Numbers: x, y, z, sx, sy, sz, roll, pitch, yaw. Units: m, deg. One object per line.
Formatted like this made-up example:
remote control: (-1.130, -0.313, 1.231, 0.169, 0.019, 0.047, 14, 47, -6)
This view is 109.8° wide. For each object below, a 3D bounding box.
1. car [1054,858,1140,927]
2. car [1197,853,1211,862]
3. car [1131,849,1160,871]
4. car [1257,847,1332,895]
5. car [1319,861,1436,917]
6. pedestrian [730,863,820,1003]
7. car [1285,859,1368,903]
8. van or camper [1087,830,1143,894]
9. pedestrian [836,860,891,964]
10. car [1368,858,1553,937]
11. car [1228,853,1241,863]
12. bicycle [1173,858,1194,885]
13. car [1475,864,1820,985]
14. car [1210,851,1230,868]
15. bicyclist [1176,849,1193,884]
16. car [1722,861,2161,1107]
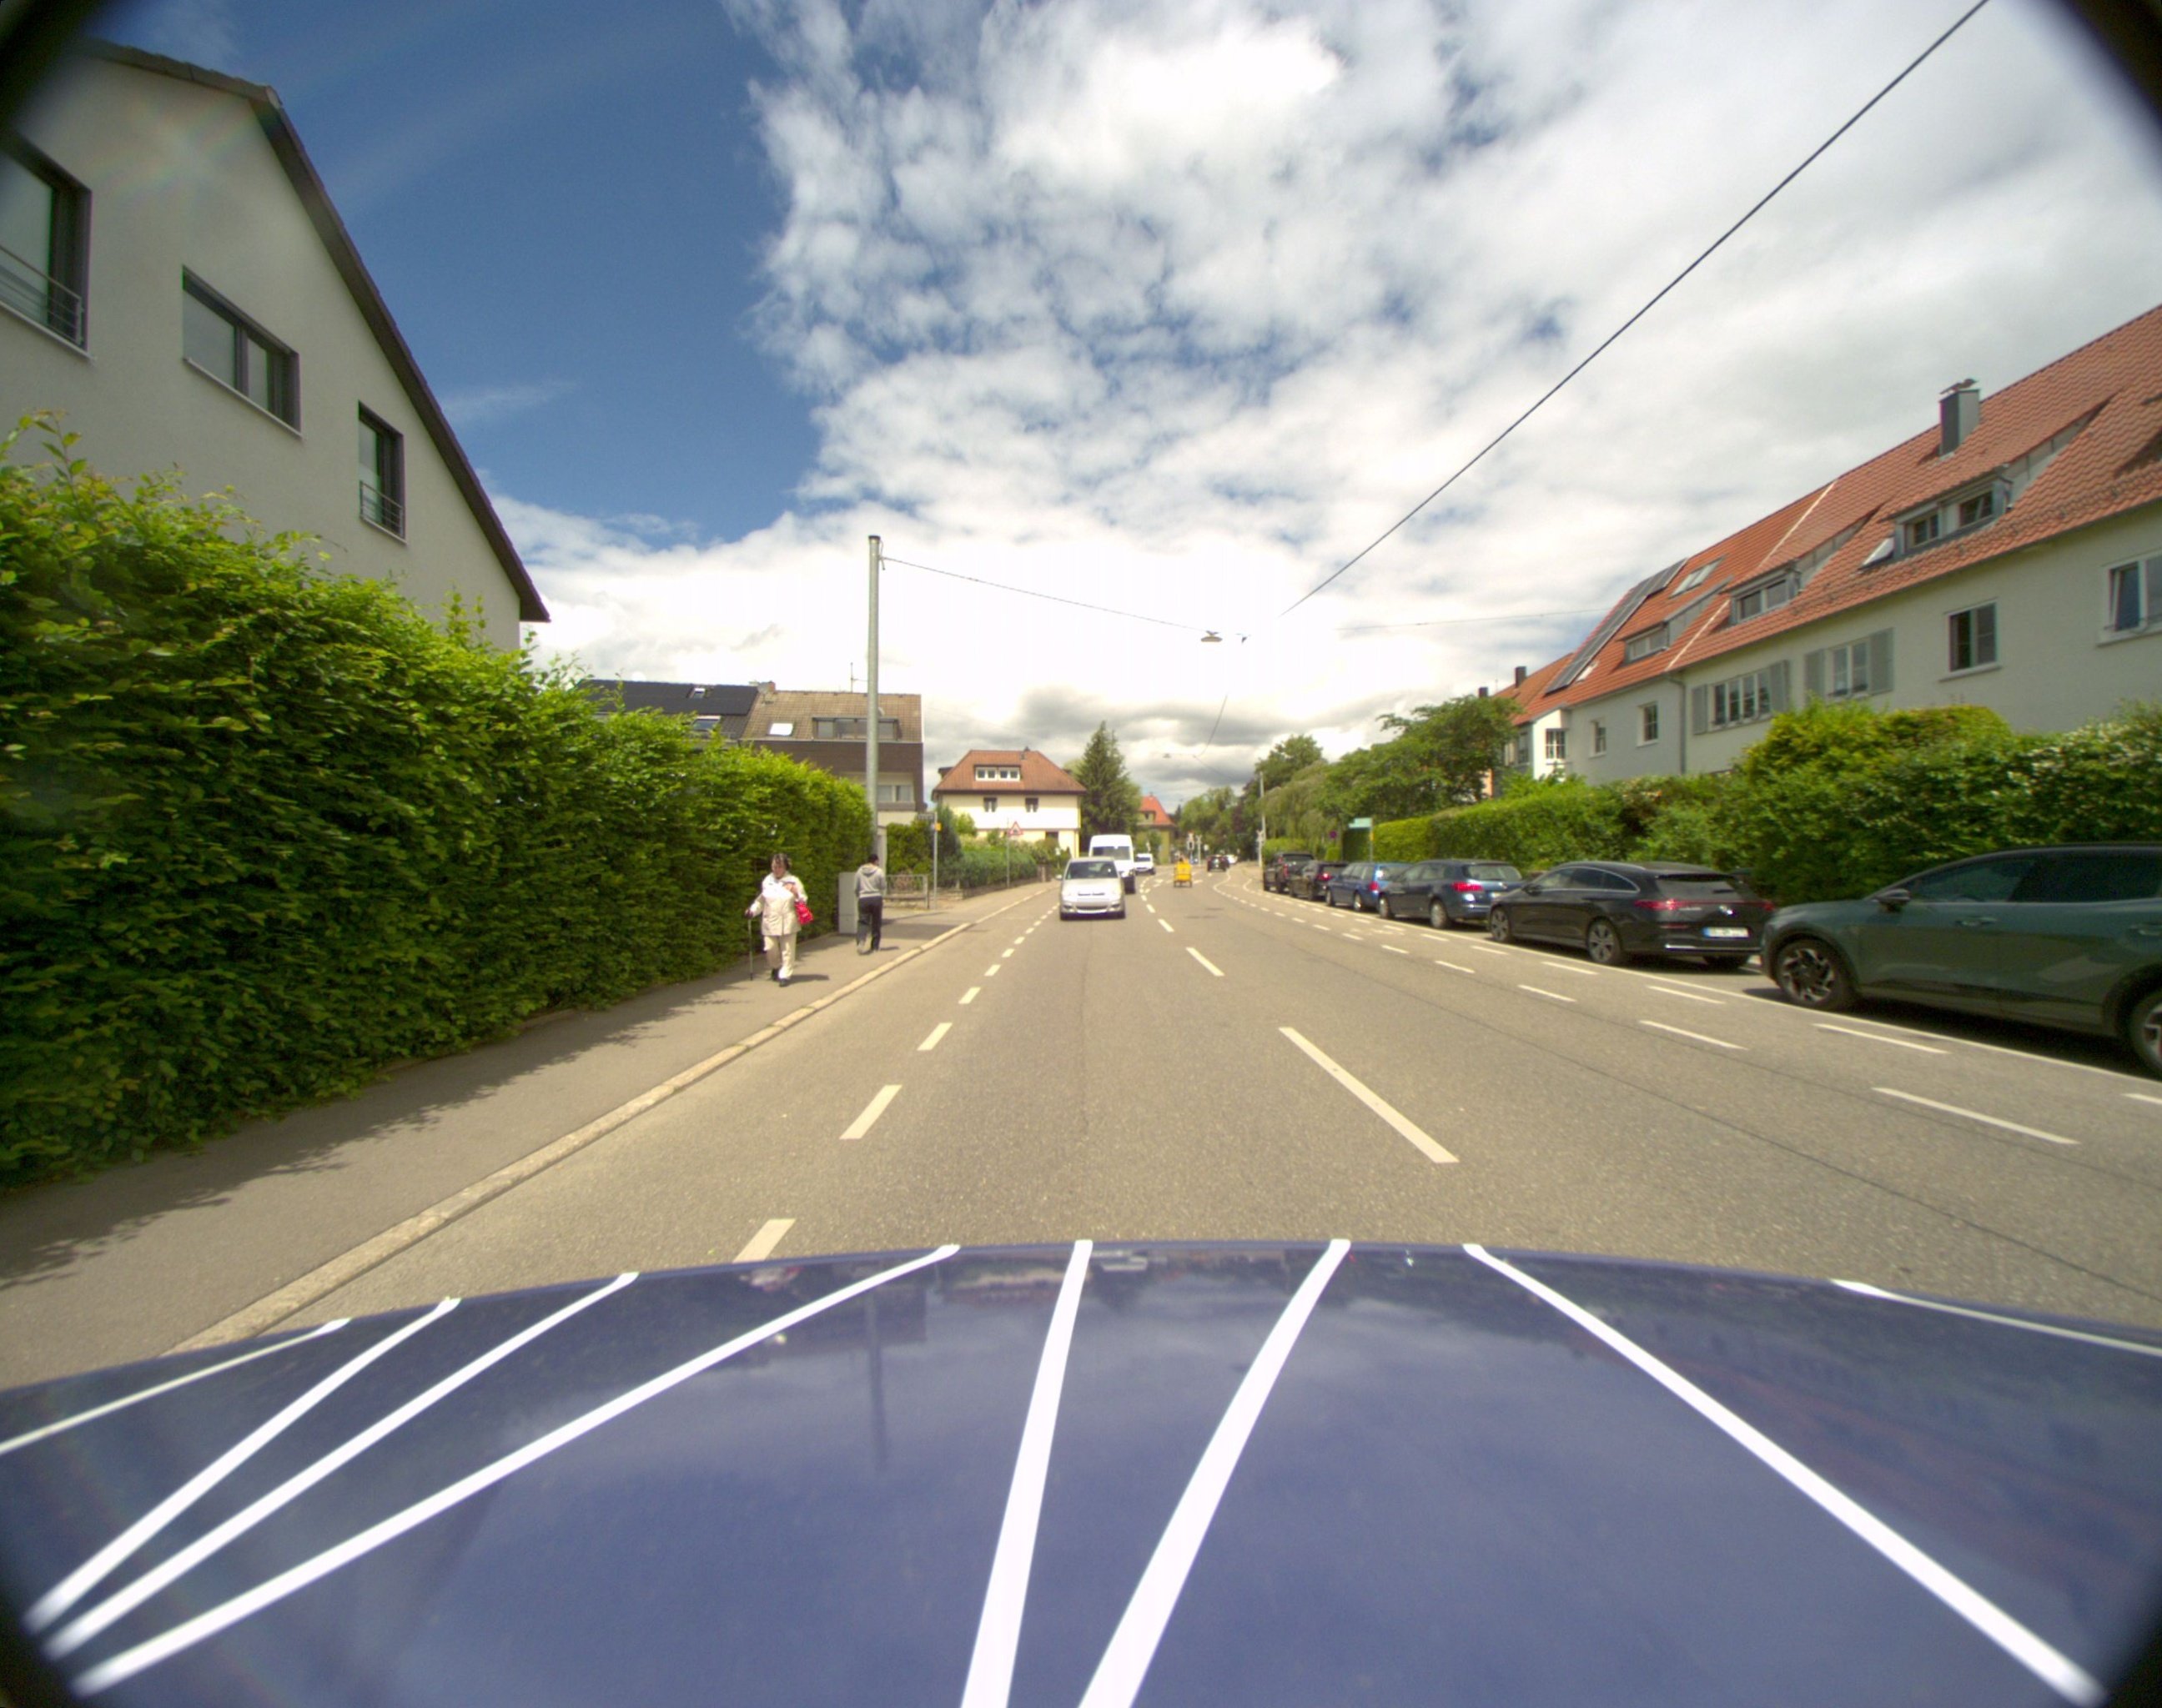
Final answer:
car: (0.543, 0.920, 19.931, 1.707, 1.531, 4.333, -2, 0, 8)
car: (21.970, 0.608, 135.567, 1.997, 1.419, 4.003, -3, 0, 13)
car: (5.472, 0.505, 64.390, 1.931, 1.771, 4.003, -2, 0, 11)
car: (9.190, 0.667, 33.151, 1.998, 1.884, 5.404, 1, 0, 3)
car: (8.529, 0.956, 22.303, 1.782, 1.409, 4.440, -1, 0, 1)
pedestrian: (-3.673, 0.922, 9.156, 0.801, 1.608, 0.653, 0, 1, 2)
car: (8.785, 0.904, 27.569, 1.782, 1.409, 4.340, -1, 0, 3)
van or camper: (1.627, 0.384, 34.106, 2.029, 2.564, 5.926, -2, -1, 7)
pedestrian: (-3.485, 0.900, 12.217, 0.604, 1.596, 0.836, 1, 1, 2)
car: (8.287, 0.872, 17.145, 1.782, 1.483, 4.564, -1, 0, -2)
car: (24.251, 0.630, 120.139, 1.850, 1.565, 4.162, -2, 0, 10)
bicycle: (5.199, 0.874, 38.600, 0.865, 1.294, 2.662, -1, 0, 4)
car: (8.227, 0.913, 11.762, 1.998, 1.400, 4.690, -1, 0, 3)
car: (14.089, 0.543, 76.897, 1.919, 1.639, 4.297, 3, 1, 11)
bicyclist: (5.255, 0.622, 38.538, 0.794, 1.703, 1.209, -1, 0, 5)
car: (8.153, 0.870, 6.226, 1.998, 1.555, 4.690, -1, 0, 3)
